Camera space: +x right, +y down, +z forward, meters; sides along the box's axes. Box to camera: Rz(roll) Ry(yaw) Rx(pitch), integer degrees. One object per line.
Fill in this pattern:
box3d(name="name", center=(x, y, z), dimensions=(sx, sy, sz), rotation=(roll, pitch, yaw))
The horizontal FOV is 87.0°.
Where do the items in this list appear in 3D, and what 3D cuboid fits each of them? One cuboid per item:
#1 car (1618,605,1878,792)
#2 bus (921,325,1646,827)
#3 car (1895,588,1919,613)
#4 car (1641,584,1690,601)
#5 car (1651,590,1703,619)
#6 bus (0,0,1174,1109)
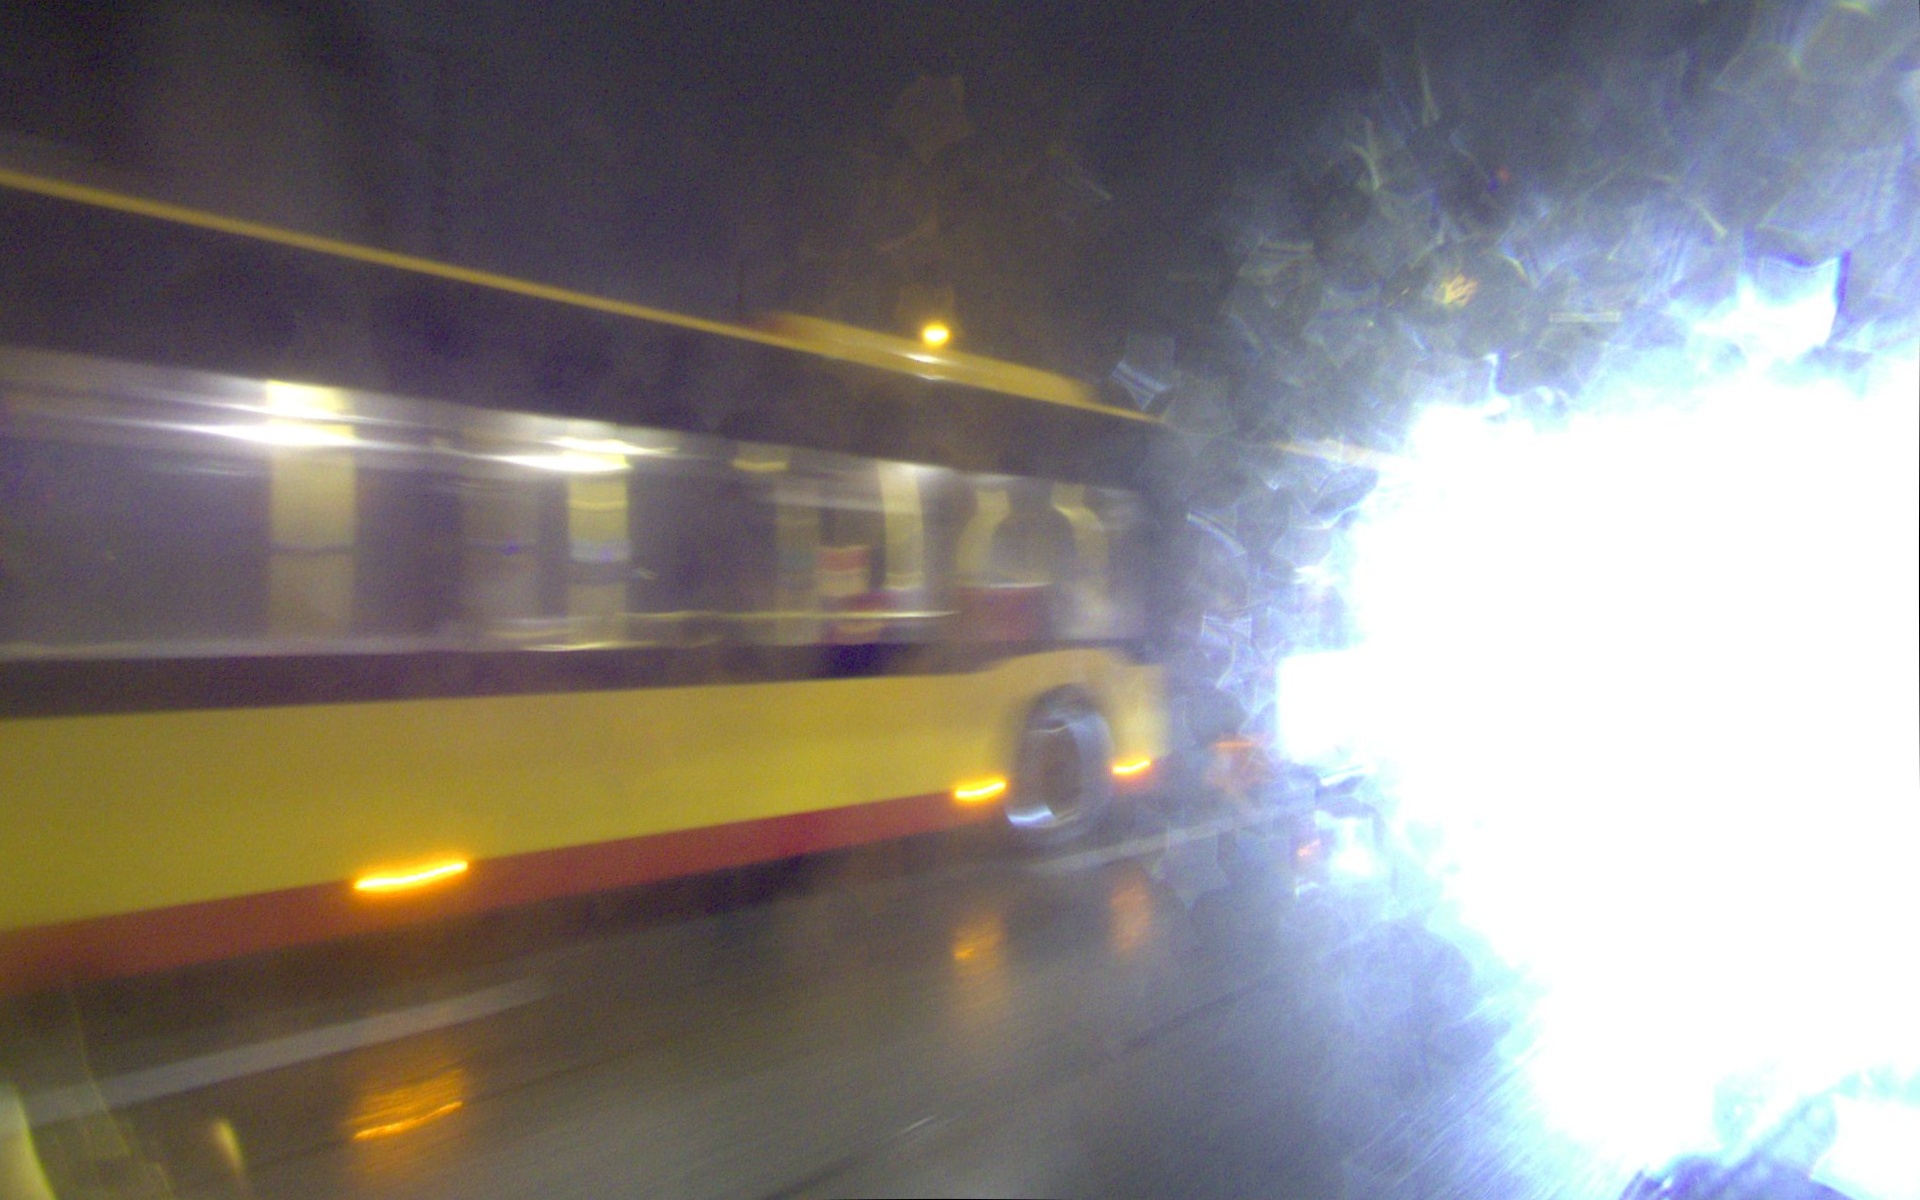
box3d(name="car", center=(8.109, 0.855, 10.308), dimensions=(1.718, 1.506, 4.099), rotation=(-3, -3, 42))
box3d(name="bus", center=(4.168, -0.168, 10.757), dimensions=(9.528, 3.279, 2.739), rotation=(0, 0, -40))
box3d(name="car", center=(54.576, 0.051, 56.609), dimensions=(1.881, 1.407, 4.800), rotation=(0, 0, 25))
box3d(name="car", center=(61.108, -0.638, 87.710), dimensions=(1.873, 1.407, 4.819), rotation=(0, 0, 14))
box3d(name="car", center=(40.552, 0.234, 57.333), dimensions=(1.594, 1.464, 3.941), rotation=(2, 2, 24))
box3d(name="bus", center=(-3.114, -0.171, 4.543), dimensions=(9.528, 3.318, 2.739), rotation=(0, 0, -40))
